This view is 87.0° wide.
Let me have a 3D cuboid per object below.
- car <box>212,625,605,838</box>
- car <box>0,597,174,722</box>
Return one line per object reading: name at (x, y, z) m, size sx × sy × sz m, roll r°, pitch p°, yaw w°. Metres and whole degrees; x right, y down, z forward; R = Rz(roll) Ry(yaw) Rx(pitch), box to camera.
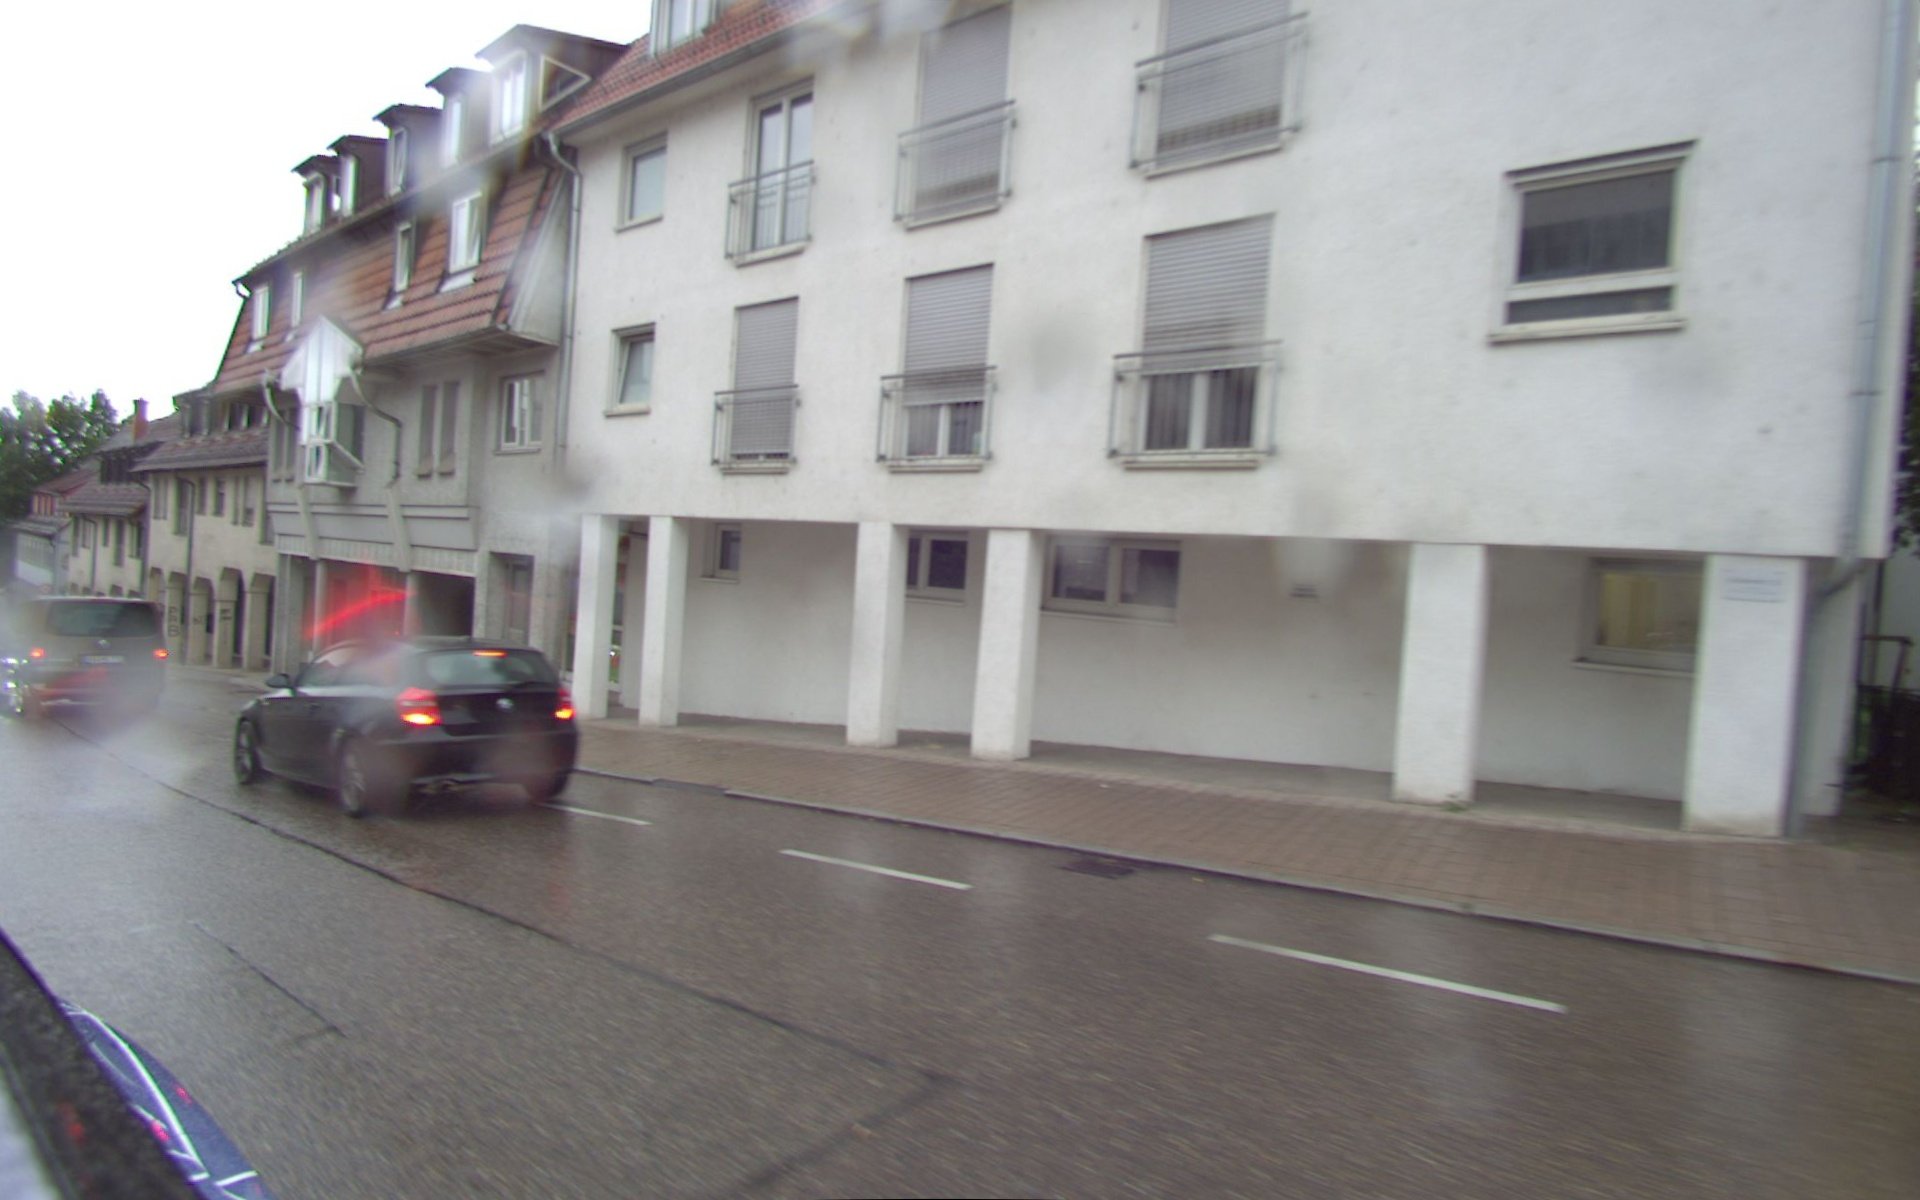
car at (-4.977, 0.976, 8.936) m, size 3.906 × 1.455 × 1.671 m, roll -1°, pitch -3°, yaw 39°
car at (-15.811, 0.974, 17.951) m, size 5.039 × 1.922 × 1.912 m, roll -1°, pitch -3°, yaw 40°
